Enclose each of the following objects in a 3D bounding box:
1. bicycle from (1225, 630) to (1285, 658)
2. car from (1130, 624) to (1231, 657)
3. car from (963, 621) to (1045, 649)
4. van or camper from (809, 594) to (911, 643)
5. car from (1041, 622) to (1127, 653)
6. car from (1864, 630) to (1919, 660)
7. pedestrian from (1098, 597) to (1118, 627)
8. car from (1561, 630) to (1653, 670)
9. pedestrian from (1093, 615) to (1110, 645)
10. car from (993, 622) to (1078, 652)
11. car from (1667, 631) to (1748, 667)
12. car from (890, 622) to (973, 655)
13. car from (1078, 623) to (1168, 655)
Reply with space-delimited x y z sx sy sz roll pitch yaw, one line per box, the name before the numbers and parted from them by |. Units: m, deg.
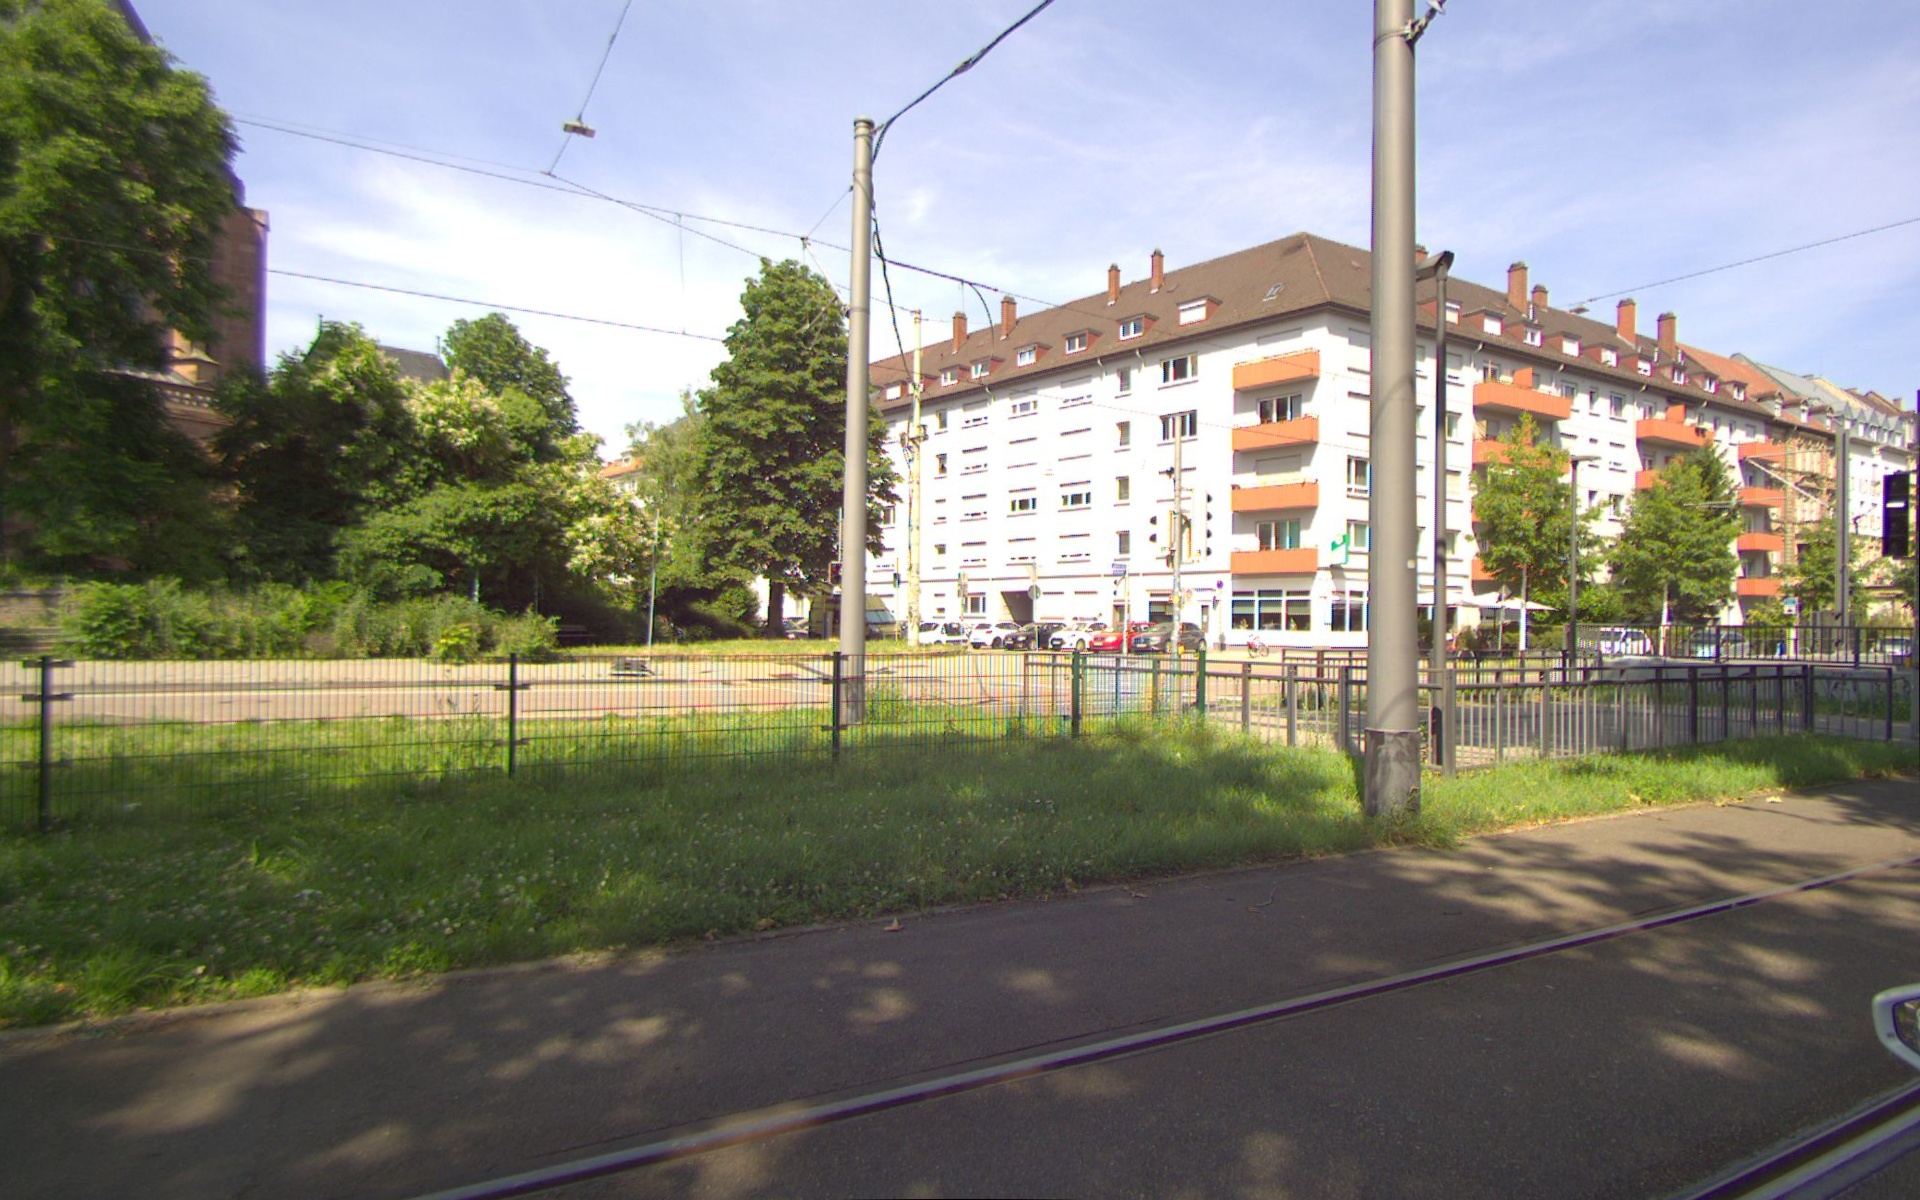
bicycle | 12.638 1.870 42.966 2.779 1.152 0.905 1 -1 -34
car | 9.878 1.792 44.833 4.598 1.394 1.821 2 -1 -36
car | 2.348 1.867 53.613 4.129 1.425 1.917 2 -1 -38
van or camper | -5.169 0.945 51.072 2.228 2.360 5.704 2 -1 -42
car | 6.170 1.842 49.746 4.129 1.425 1.917 2 -1 -38
car | 51.372 2.450 55.175 3.961 1.518 1.758 2 -1 -36
pedestrian | 7.889 0.638 53.615 0.846 1.593 0.688 0 -1 36
car | 25.769 1.968 40.001 3.961 1.518 1.759 2 -3 -36
pedestrian | 7.475 1.570 53.125 0.679 1.593 0.544 0 -1 36
car | 3.882 1.890 51.311 4.129 1.425 1.917 2 -1 -38
car | 33.039 2.160 44.368 3.961 1.518 1.759 2 -3 -36
car | -1.349 1.752 46.680 3.702 1.425 1.823 0 -2 44
car | 7.712 1.812 47.429 4.129 1.425 1.917 2 -1 -38
